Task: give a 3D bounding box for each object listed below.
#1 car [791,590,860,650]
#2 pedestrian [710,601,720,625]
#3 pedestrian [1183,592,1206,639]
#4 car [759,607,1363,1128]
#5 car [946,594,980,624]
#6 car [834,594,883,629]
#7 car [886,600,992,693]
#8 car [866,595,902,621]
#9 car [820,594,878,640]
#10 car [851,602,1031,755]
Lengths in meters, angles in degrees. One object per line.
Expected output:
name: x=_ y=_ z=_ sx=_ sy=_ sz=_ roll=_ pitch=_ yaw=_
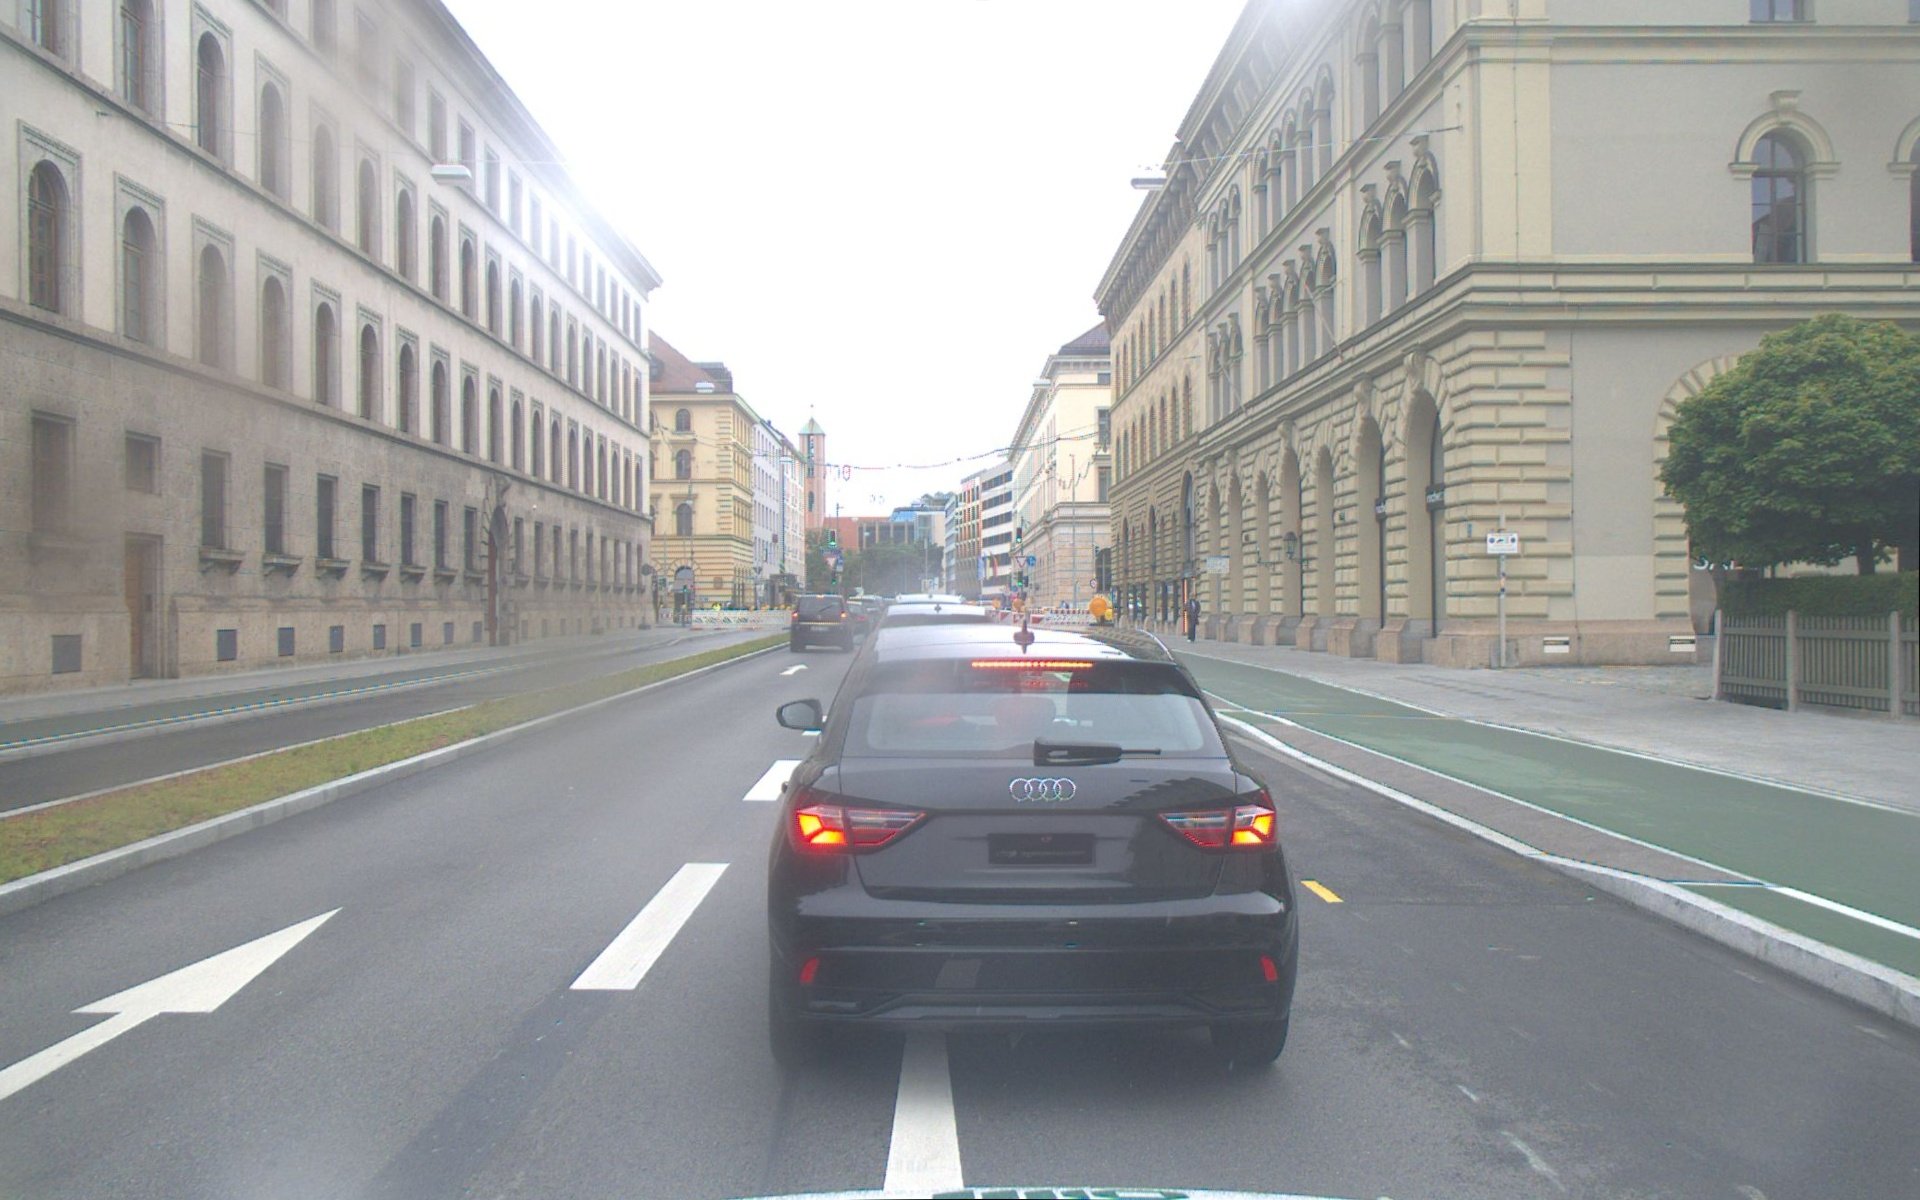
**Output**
car: x=-3.863 y=0.551 z=48.024 sx=1.729 sy=1.644 sz=4.029 roll=1 pitch=0 yaw=-1
pedestrian: x=-18.340 y=0.959 z=123.694 sx=0.642 sy=1.836 sz=0.727 roll=0 pitch=0 yaw=-2
pedestrian: x=8.314 y=0.548 z=58.660 sx=0.695 sy=1.646 sz=0.754 roll=0 pitch=0 yaw=-2
car: x=0.253 y=0.769 z=6.681 sx=1.695 sy=1.427 sz=3.999 roll=1 pitch=0 yaw=-1
car: x=0.166 y=0.558 z=99.006 sx=1.910 sy=1.691 sz=3.999 roll=1 pitch=-1 yaw=-1
car: x=-4.437 y=0.503 z=72.668 sx=1.953 sy=1.469 sz=3.999 roll=0 pitch=0 yaw=-1
car: x=-0.373 y=0.754 z=28.848 sx=1.695 sy=1.486 sz=3.999 roll=1 pitch=0 yaw=-1
car: x=-4.336 y=0.445 z=95.103 sx=1.953 sy=1.469 sz=3.999 roll=0 pitch=0 yaw=-1
car: x=-4.133 y=0.626 z=62.341 sx=1.953 sy=1.656 sz=3.999 roll=0 pitch=0 yaw=-1
car: x=-0.217 y=0.751 z=17.811 sx=1.695 sy=1.427 sz=3.999 roll=1 pitch=0 yaw=-1
